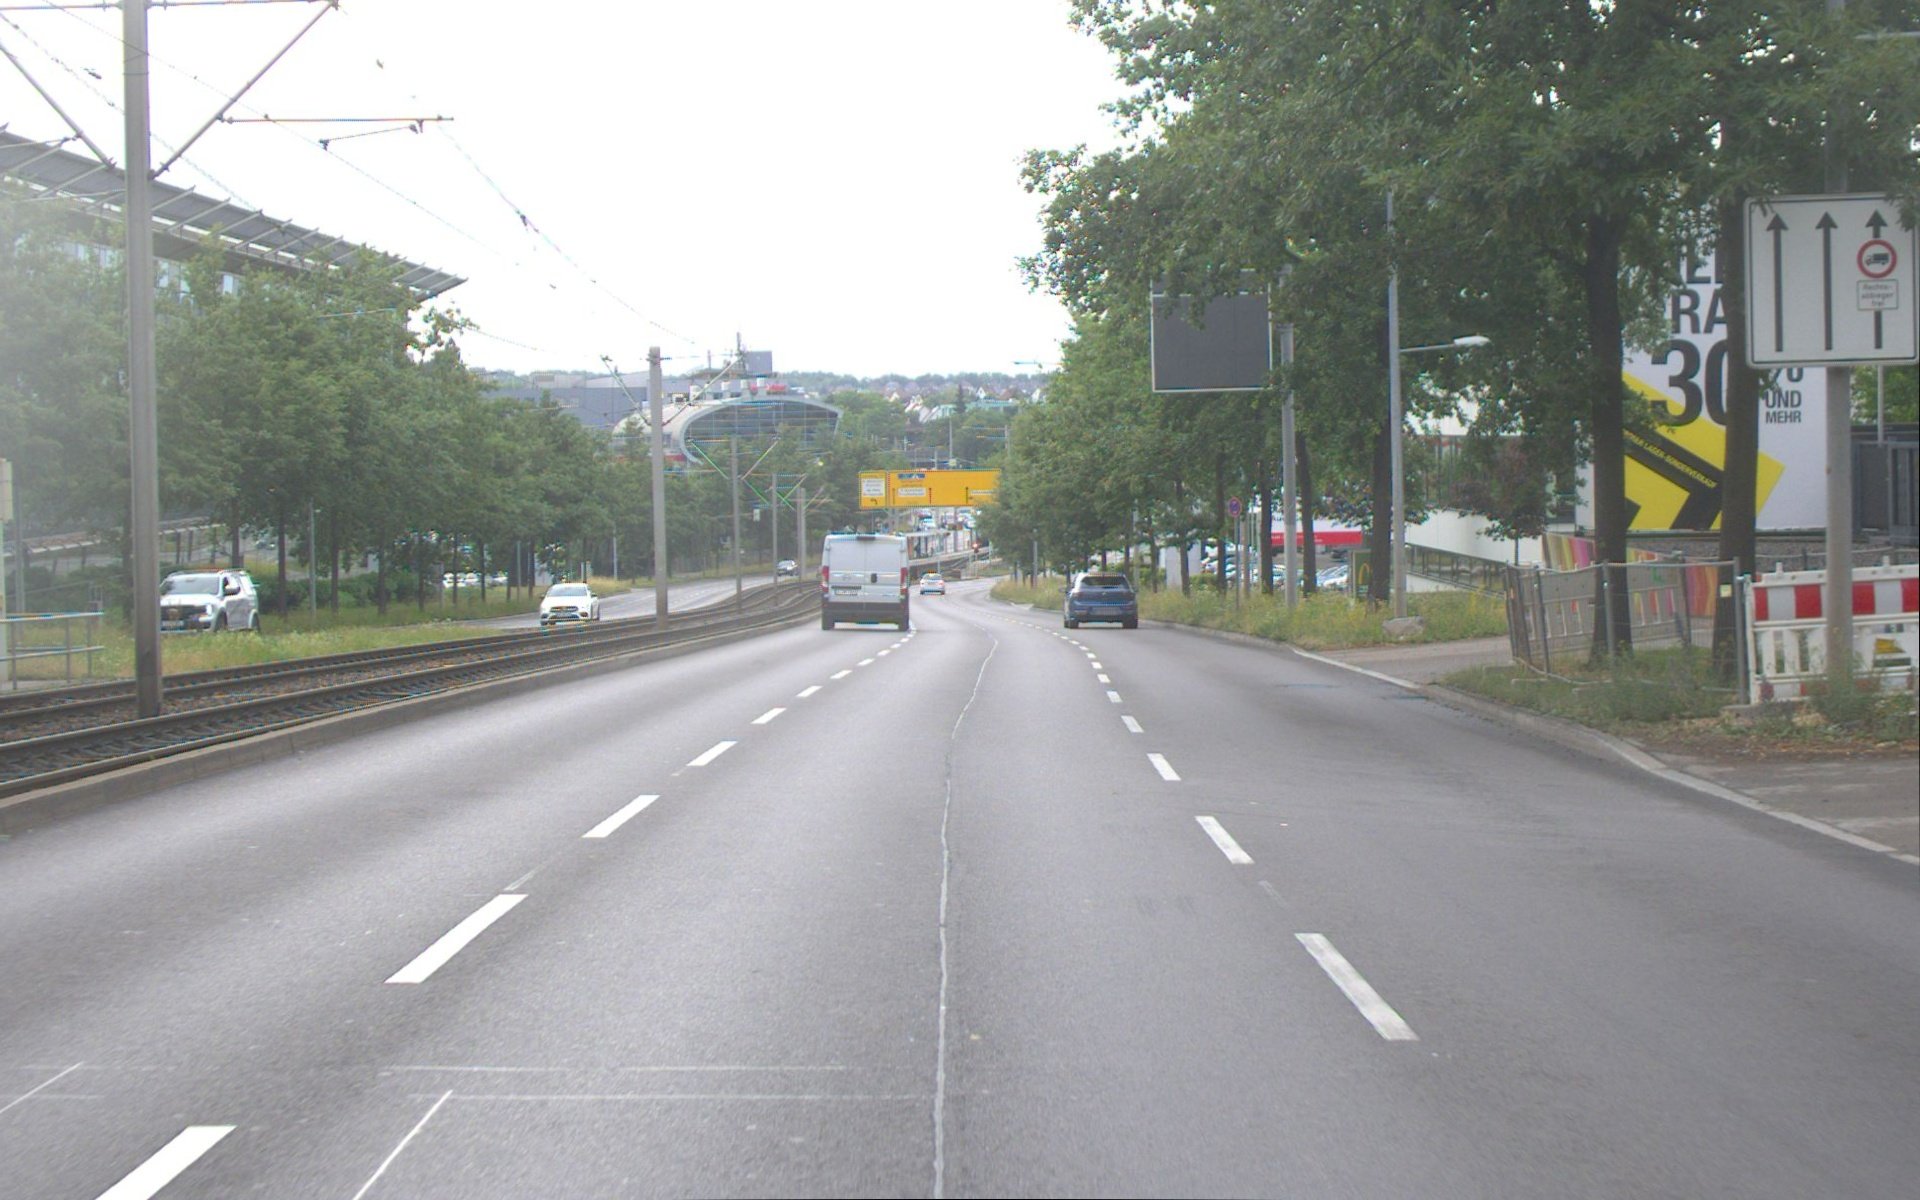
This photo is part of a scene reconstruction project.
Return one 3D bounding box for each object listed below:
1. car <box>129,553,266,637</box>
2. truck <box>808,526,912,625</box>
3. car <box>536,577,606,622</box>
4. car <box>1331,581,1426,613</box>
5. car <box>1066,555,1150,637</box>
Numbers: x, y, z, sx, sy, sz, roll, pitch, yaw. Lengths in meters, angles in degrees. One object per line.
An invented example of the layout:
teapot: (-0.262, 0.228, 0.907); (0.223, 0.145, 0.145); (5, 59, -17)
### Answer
car: (-17.783, -0.144, 80.369); (1.993, 1.840, 5.002); (-2, 1, 0)
truck: (-2.367, -0.573, 81.833); (2.360, 2.254, 5.306); (1, 0, -1)
car: (-13.668, -0.029, 121.123); (1.837, 1.439, 4.428); (-2, 1, 1)
car: (18.357, -0.149, 150.889); (3.987, 1.349, 2.000); (1, 0, 4)
car: (3.773, -0.109, 88.236); (1.993, 2.007, 3.934); (1, 0, 1)
